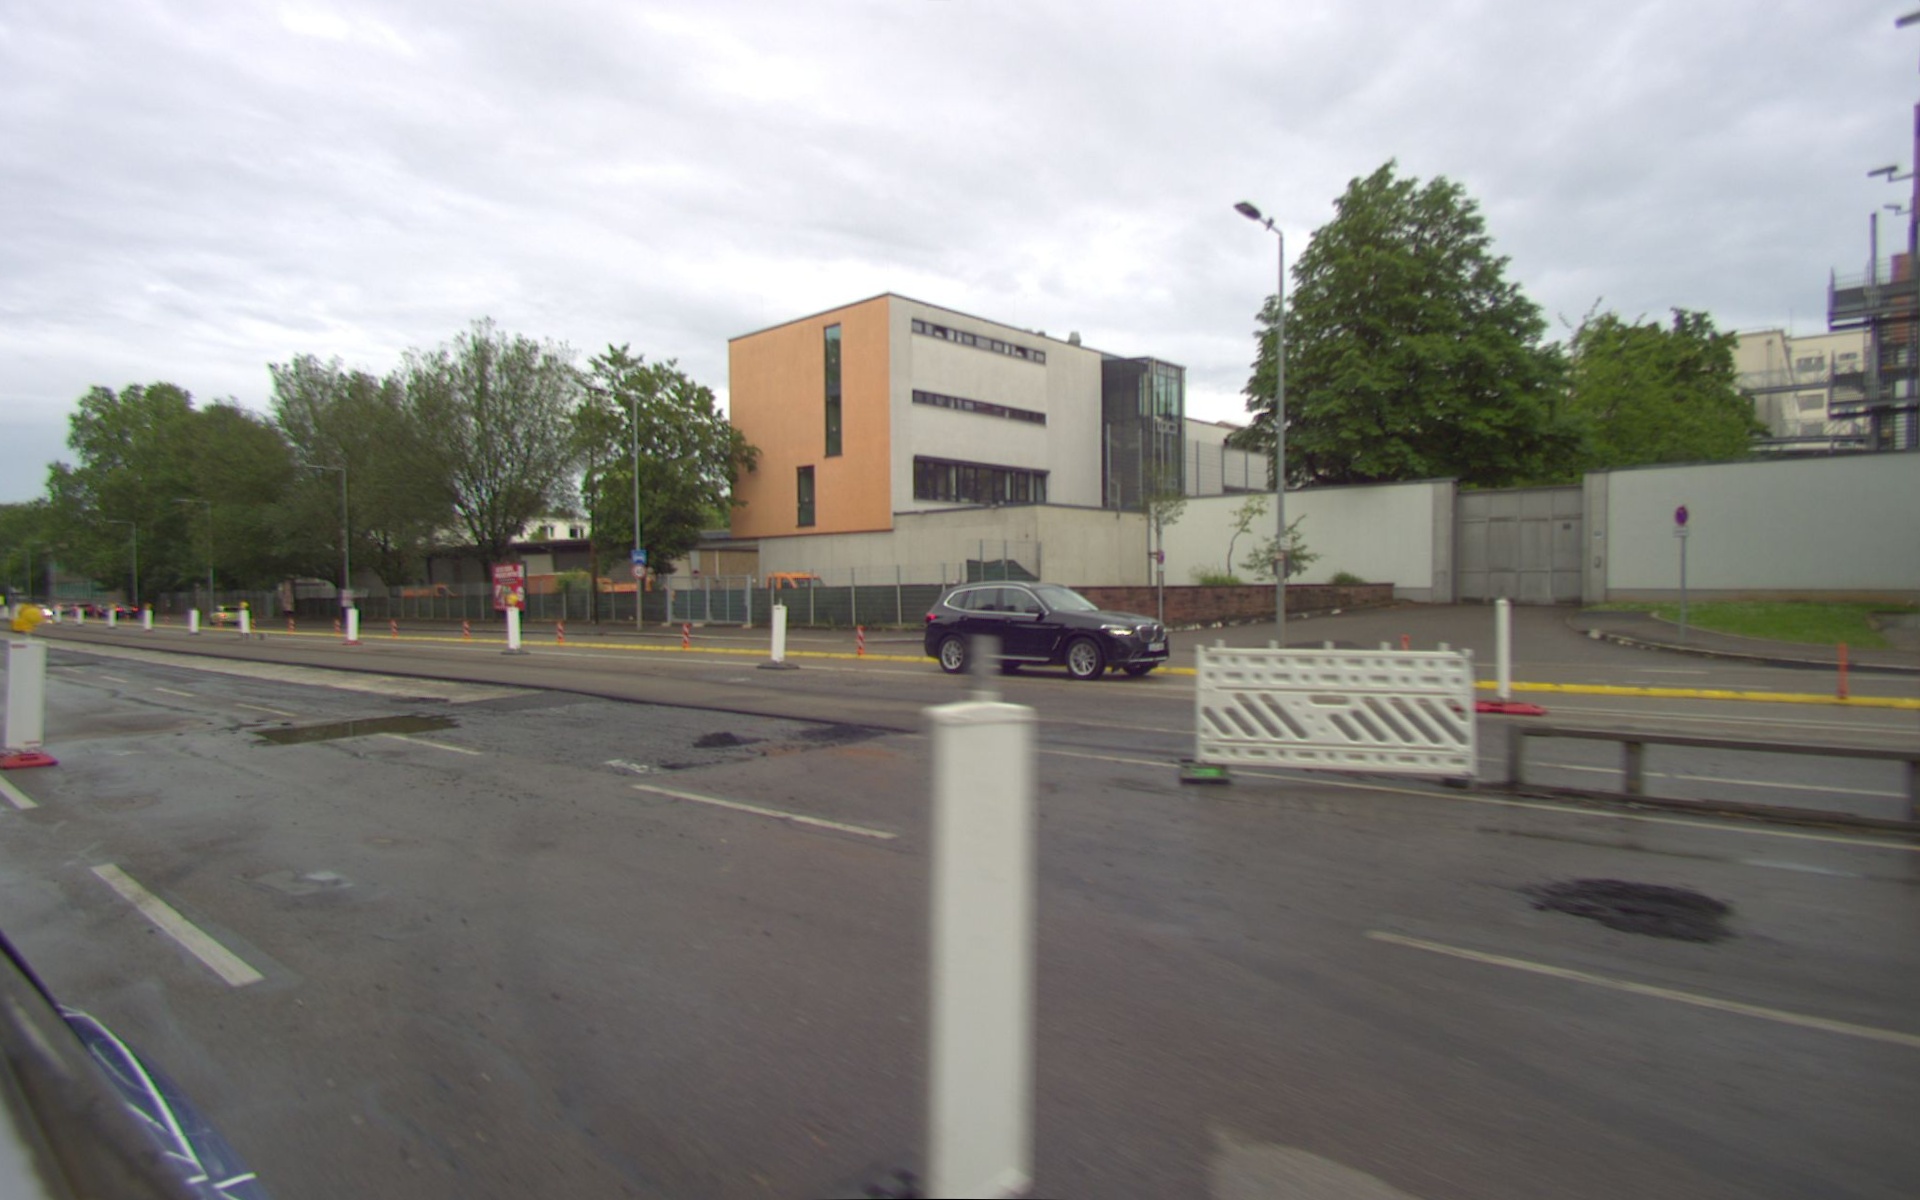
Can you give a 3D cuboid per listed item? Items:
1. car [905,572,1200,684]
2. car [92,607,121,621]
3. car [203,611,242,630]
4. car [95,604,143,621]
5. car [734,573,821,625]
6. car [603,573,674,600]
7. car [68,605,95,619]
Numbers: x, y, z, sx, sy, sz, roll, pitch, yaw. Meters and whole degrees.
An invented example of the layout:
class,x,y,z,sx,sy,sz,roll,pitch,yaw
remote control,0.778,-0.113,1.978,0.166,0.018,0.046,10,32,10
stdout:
class,x,y,z,sx,sy,sz,roll,pitch,yaw
car,1.515,0.477,17.936,4.979,1.719,1.973,-1,-1,40
car,-92.568,1.539,109.733,3.731,1.487,1.839,0,-1,42
car,-54.693,1.530,75.081,3.803,1.378,1.537,-1,-1,41
car,-84.495,1.269,101.641,4.298,1.642,1.852,0,-1,21
car,-8.069,-0.042,44.585,3.997,2.186,1.593,-1,1,41
car,-19.863,-0.834,62.609,3.958,1.539,2.005,-1,1,-10
car,-103.470,1.440,119.181,4.364,1.631,1.839,0,-1,42
